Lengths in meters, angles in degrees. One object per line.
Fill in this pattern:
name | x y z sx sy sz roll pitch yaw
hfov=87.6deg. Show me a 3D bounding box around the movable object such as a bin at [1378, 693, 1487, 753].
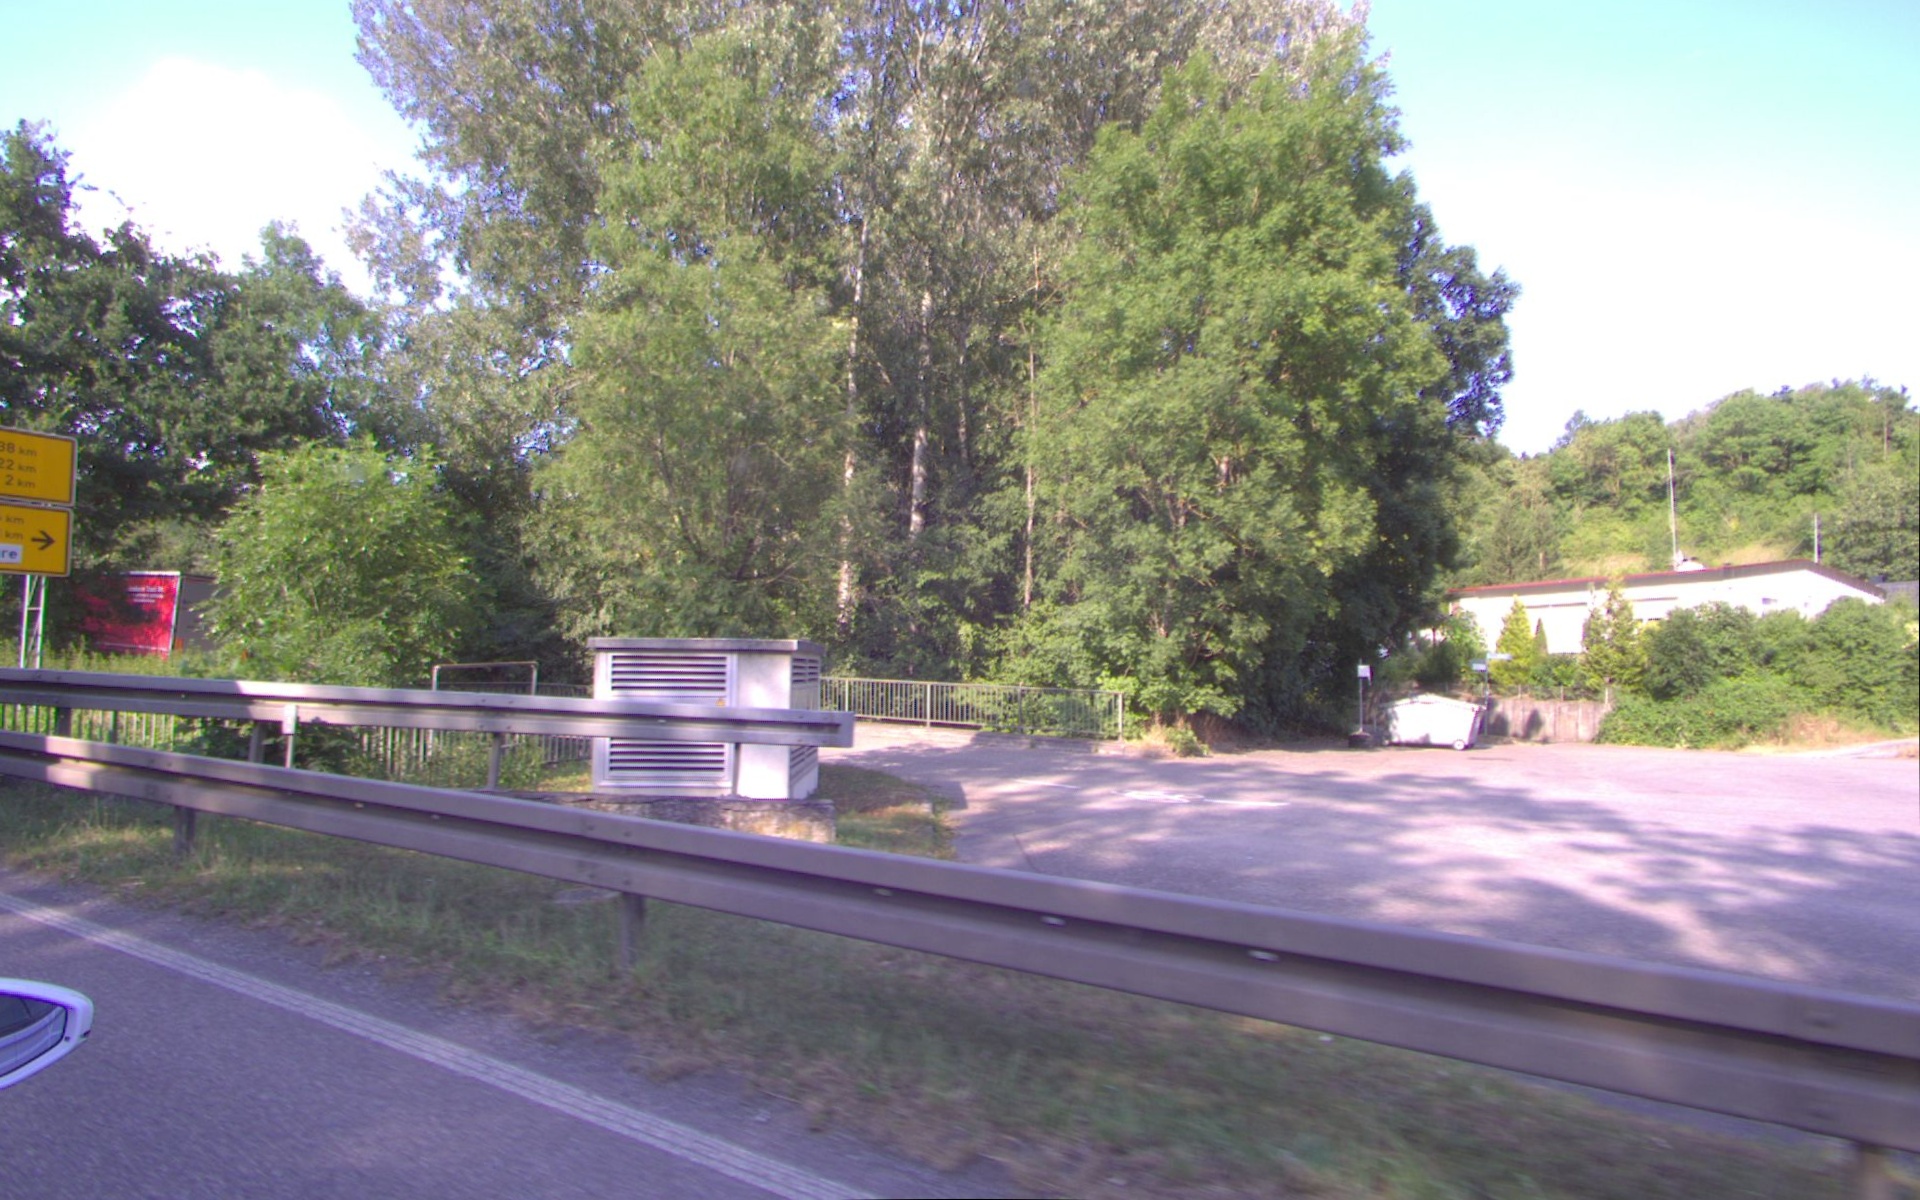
movable object such as a bin | 12.699 3.273 26.927 2.520 1.436 1.265 -1 -5 32
